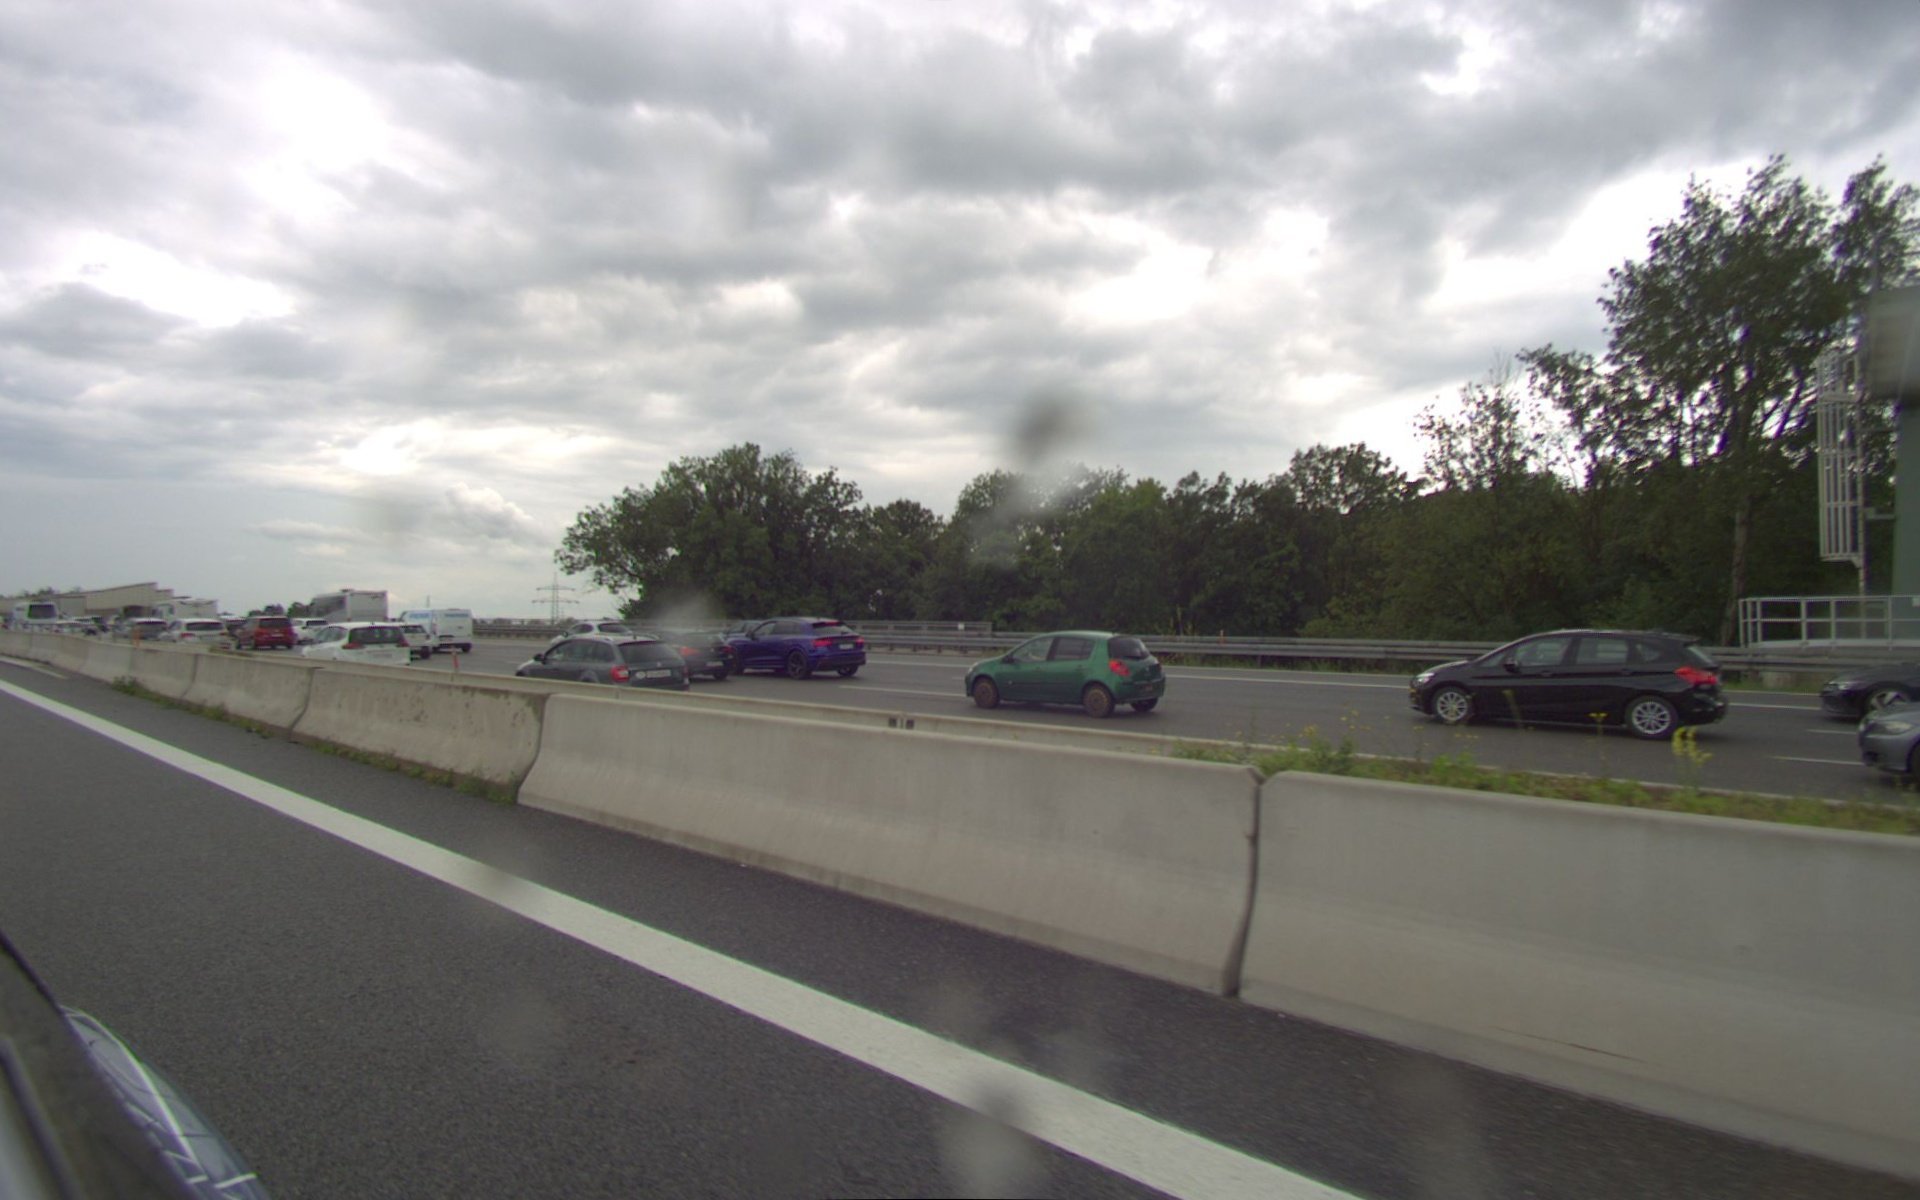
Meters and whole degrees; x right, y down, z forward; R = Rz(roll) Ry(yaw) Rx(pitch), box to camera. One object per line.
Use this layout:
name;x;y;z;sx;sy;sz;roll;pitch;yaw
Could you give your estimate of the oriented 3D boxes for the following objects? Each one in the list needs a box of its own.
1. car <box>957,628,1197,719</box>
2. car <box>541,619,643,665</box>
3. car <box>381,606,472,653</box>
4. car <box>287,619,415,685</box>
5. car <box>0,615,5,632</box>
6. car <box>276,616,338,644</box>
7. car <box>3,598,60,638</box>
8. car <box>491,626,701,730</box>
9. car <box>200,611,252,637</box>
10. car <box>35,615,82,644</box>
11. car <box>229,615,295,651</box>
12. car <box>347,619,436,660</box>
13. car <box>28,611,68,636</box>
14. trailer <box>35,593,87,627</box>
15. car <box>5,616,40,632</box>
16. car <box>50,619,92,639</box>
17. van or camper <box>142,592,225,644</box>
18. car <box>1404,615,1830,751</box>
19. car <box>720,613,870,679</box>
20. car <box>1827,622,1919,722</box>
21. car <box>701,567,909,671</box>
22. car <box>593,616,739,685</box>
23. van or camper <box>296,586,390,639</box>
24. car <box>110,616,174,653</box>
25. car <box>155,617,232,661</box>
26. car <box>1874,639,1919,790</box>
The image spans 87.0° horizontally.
car;2.058;1.262;18.621;4.201;1.429;1.704;0;-1;42
car;-13.299;1.455;36.468;3.957;1.489;1.705;0;1;40
car;-24.015;1.288;45.470;5.544;1.950;1.671;0;1;40
car;-17.517;1.416;29.010;4.995;1.658;1.705;0;1;41
car;-86.466;2.088;89.764;5.466;1.546;2.039;-1;-1;40
car;-37.104;1.677;57.445;5.018;1.467;1.705;0;1;42
car;-70.203;1.389;76.480;9.159;2.770;2.208;-3;-2;41
car;-7.202;1.396;19.734;4.992;1.658;1.705;0;1;42
car;-48.742;1.568;67.152;5.018;1.559;1.828;0;1;42
car;-55.944;1.796;62.749;4.518;1.658;1.705;0;1;42
car;-35.068;1.596;50.804;4.518;1.658;1.705;0;1;42
car;-22.527;1.523;40.034;4.518;1.426;1.705;0;1;42
car;-83.840;2.143;93.009;5.890;2.253;2.039;-1;-1;40
trailer;-113.073;1.315;127.228;14.441;4.062;2.902;-1;-1;40
car;-100.197;2.574;108.107;6.116;1.658;2.039;-1;-1;40
car;-74.013;2.402;84.249;4.516;1.546;2.039;-1;-1;40
van or camper;-47.960;1.069;62.402;7.355;2.973;2.598;0;1;41
car;9.754;1.107;15.390;5.235;1.658;1.704;0;1;42
car;-4.688;1.214;28.306;4.518;1.658;1.705;0;1;42
car;15.986;1.111;15.169;4.518;1.439;1.705;0;1;42
car;-5.607;0.579;35.482;7.935;3.264;2.700;0;1;41
car;-8.052;1.301;27.513;4.518;1.658;1.705;0;1;42
van or camper;-38.827;0.740;63.535;8.472;3.146;2.598;0;1;41
car;-40.270;1.664;49.787;5.061;1.658;1.705;0;1;42
car;-32.482;1.606;42.818;5.061;1.658;1.705;0;1;42
car;11.713;1.183;9.578;4.518;1.439;1.705;0;1;42
